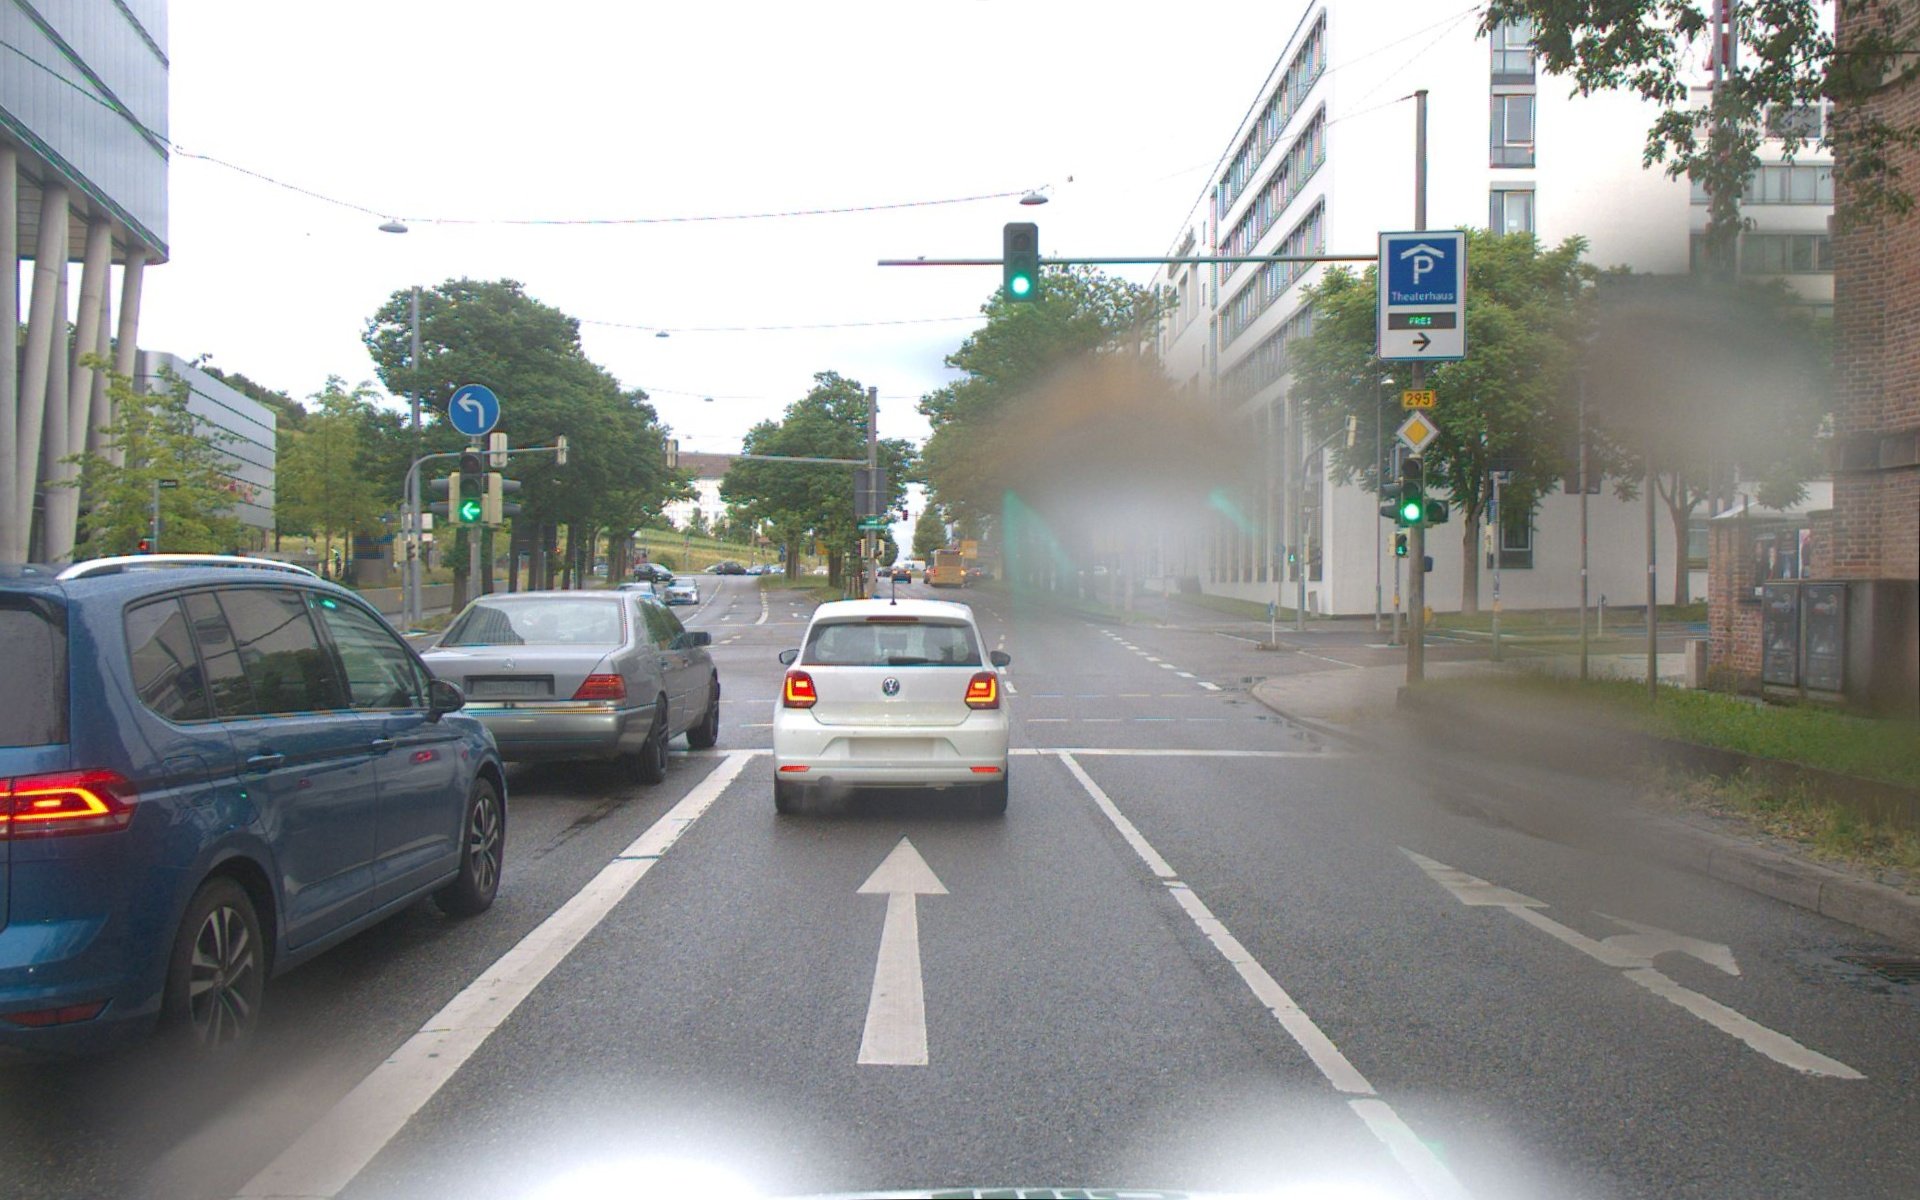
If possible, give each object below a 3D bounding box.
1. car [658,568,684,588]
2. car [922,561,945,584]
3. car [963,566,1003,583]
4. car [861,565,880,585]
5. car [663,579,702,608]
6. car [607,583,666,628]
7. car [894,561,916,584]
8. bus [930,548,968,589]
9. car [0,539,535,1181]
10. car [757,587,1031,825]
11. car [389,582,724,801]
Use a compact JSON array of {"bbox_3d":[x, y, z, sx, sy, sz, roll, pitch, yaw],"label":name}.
[{"bbox_3d":[-25.975,-2.018,148.621,1.955,1.644,5.114,-2,2,-7],"label":"car"},{"bbox_3d":[-2.482,-2.527,154.178,1.954,2.049,3.998,0,0,-3],"label":"car"},{"bbox_3d":[2.161,-2.325,153.118,1.670,1.542,3.805,0,0,42],"label":"car"},{"bbox_3d":[-8.384,-2.336,154.782,1.759,1.772,3.997,-1,1,-4],"label":"car"},{"bbox_3d":[-15.114,-0.396,90.264,1.779,1.436,4.650,-2,1,-6],"label":"car"},{"bbox_3d":[-11.803,0.169,60.561,1.716,1.547,3.813,-1,1,-6],"label":"car"},{"bbox_3d":[-5.113,-2.559,153.134,1.954,2.049,3.998,0,0,-3],"label":"car"},{"bbox_3d":[-1.015,-2.697,140.836,2.772,3.323,9.996,1,1,-3],"label":"bus"},{"bbox_3d":[-3.054,0.657,6.294,1.736,1.624,4.197,-1,0,0],"label":"car"},{"bbox_3d":[-0.483,0.676,12.710,1.758,1.528,3.999,1,0,-2],"label":"car"},{"bbox_3d":[-3.177,0.642,13.863,1.809,1.537,4.048,-1,0,0],"label":"car"}]
